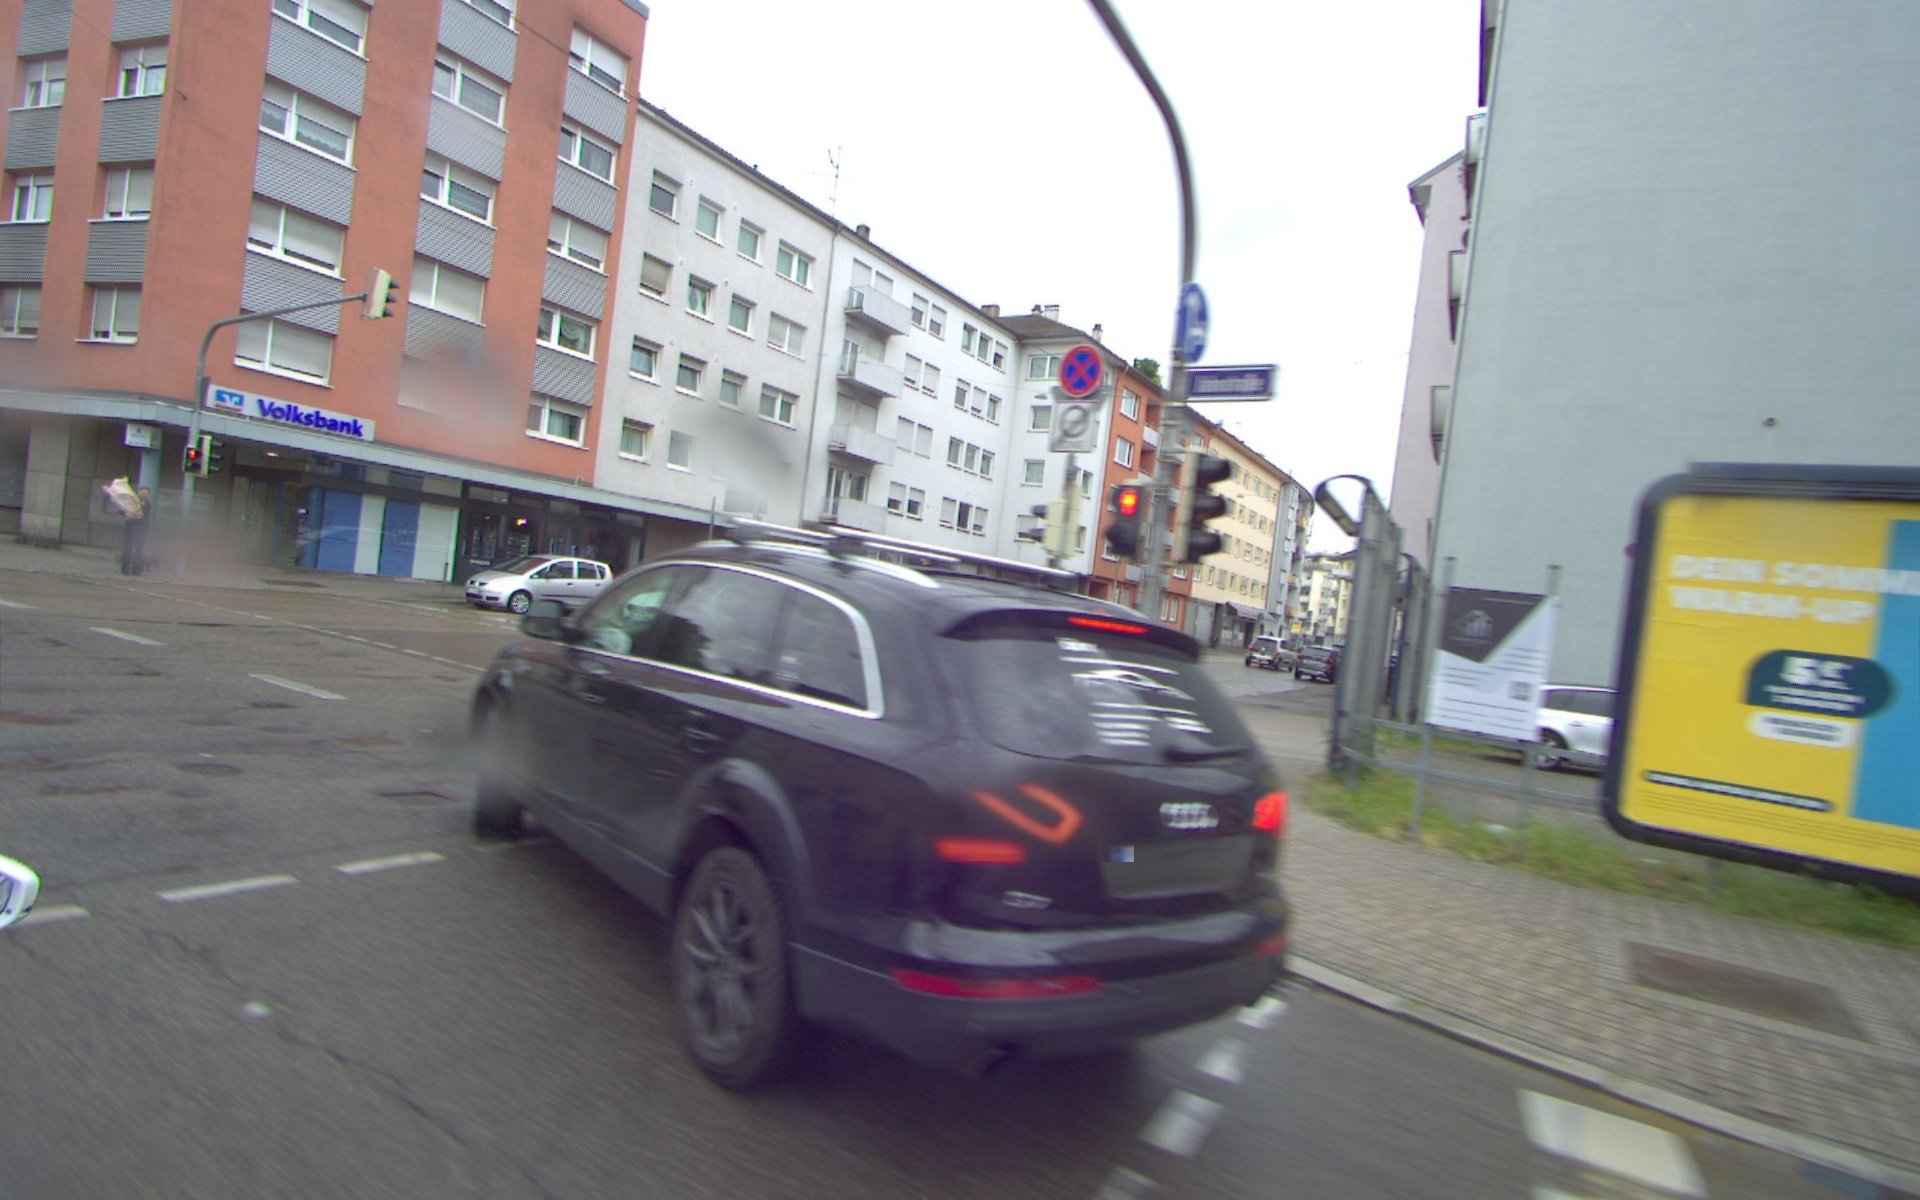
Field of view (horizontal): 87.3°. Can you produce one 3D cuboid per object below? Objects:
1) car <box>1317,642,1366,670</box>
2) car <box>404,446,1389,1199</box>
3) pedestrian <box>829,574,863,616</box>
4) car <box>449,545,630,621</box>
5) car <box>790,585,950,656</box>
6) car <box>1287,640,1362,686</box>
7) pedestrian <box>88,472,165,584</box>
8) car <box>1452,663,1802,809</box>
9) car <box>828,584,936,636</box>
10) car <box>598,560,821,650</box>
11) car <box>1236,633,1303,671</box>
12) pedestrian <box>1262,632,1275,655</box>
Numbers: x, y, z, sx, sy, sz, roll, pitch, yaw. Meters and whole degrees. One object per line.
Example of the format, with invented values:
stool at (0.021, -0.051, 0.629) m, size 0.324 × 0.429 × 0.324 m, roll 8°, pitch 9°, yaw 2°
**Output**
car at (24.263, 3.590, 63.960) m, size 1.968 × 1.505 × 3.989 m, roll 7°, pitch 1°, yaw 33°
car at (-0.887, 0.557, 4.796) m, size 2.015 × 1.890 × 4.844 m, roll 10°, pitch -2°, yaw -40°
pedestrian at (-4.969, -0.219, 43.990) m, size 0.812 × 1.631 × 1.012 m, roll 7°, pitch -1°, yaw 33°
car at (-10.683, -0.391, 25.796) m, size 1.674 × 1.504 × 3.950 m, roll 7°, pitch 0°, yaw 31°
car at (-2.292, 0.600, 26.821) m, size 1.815 × 1.504 × 4.514 m, roll 7°, pitch 0°, yaw 31°
car at (15.896, 2.770, 43.782) m, size 1.959 × 1.638 × 4.115 m, roll 7°, pitch 0°, yaw 34°
pedestrian at (-17.451, -1.503, 21.068) m, size 0.757 × 2.183 × 0.827 m, roll 7°, pitch -1°, yaw 32°
car at (10.342, 2.029, 15.966) m, size 4.260 × 1.458 × 1.876 m, roll 7°, pitch 0°, yaw 32°
car at (-2.888, 0.423, 37.997) m, size 1.728 × 1.561 × 4.241 m, roll 7°, pitch 0°, yaw 33°
car at (-5.277, 0.172, 21.862) m, size 1.887 × 1.504 × 4.657 m, roll 7°, pitch 0°, yaw 30°
car at (15.183, 2.570, 49.228) m, size 1.968 × 1.504 × 3.990 m, roll 7°, pitch 0°, yaw 33°
pedestrian at (25.684, 3.610, 83.794) m, size 0.679 × 1.827 × 0.706 m, roll 7°, pitch -1°, yaw 25°
